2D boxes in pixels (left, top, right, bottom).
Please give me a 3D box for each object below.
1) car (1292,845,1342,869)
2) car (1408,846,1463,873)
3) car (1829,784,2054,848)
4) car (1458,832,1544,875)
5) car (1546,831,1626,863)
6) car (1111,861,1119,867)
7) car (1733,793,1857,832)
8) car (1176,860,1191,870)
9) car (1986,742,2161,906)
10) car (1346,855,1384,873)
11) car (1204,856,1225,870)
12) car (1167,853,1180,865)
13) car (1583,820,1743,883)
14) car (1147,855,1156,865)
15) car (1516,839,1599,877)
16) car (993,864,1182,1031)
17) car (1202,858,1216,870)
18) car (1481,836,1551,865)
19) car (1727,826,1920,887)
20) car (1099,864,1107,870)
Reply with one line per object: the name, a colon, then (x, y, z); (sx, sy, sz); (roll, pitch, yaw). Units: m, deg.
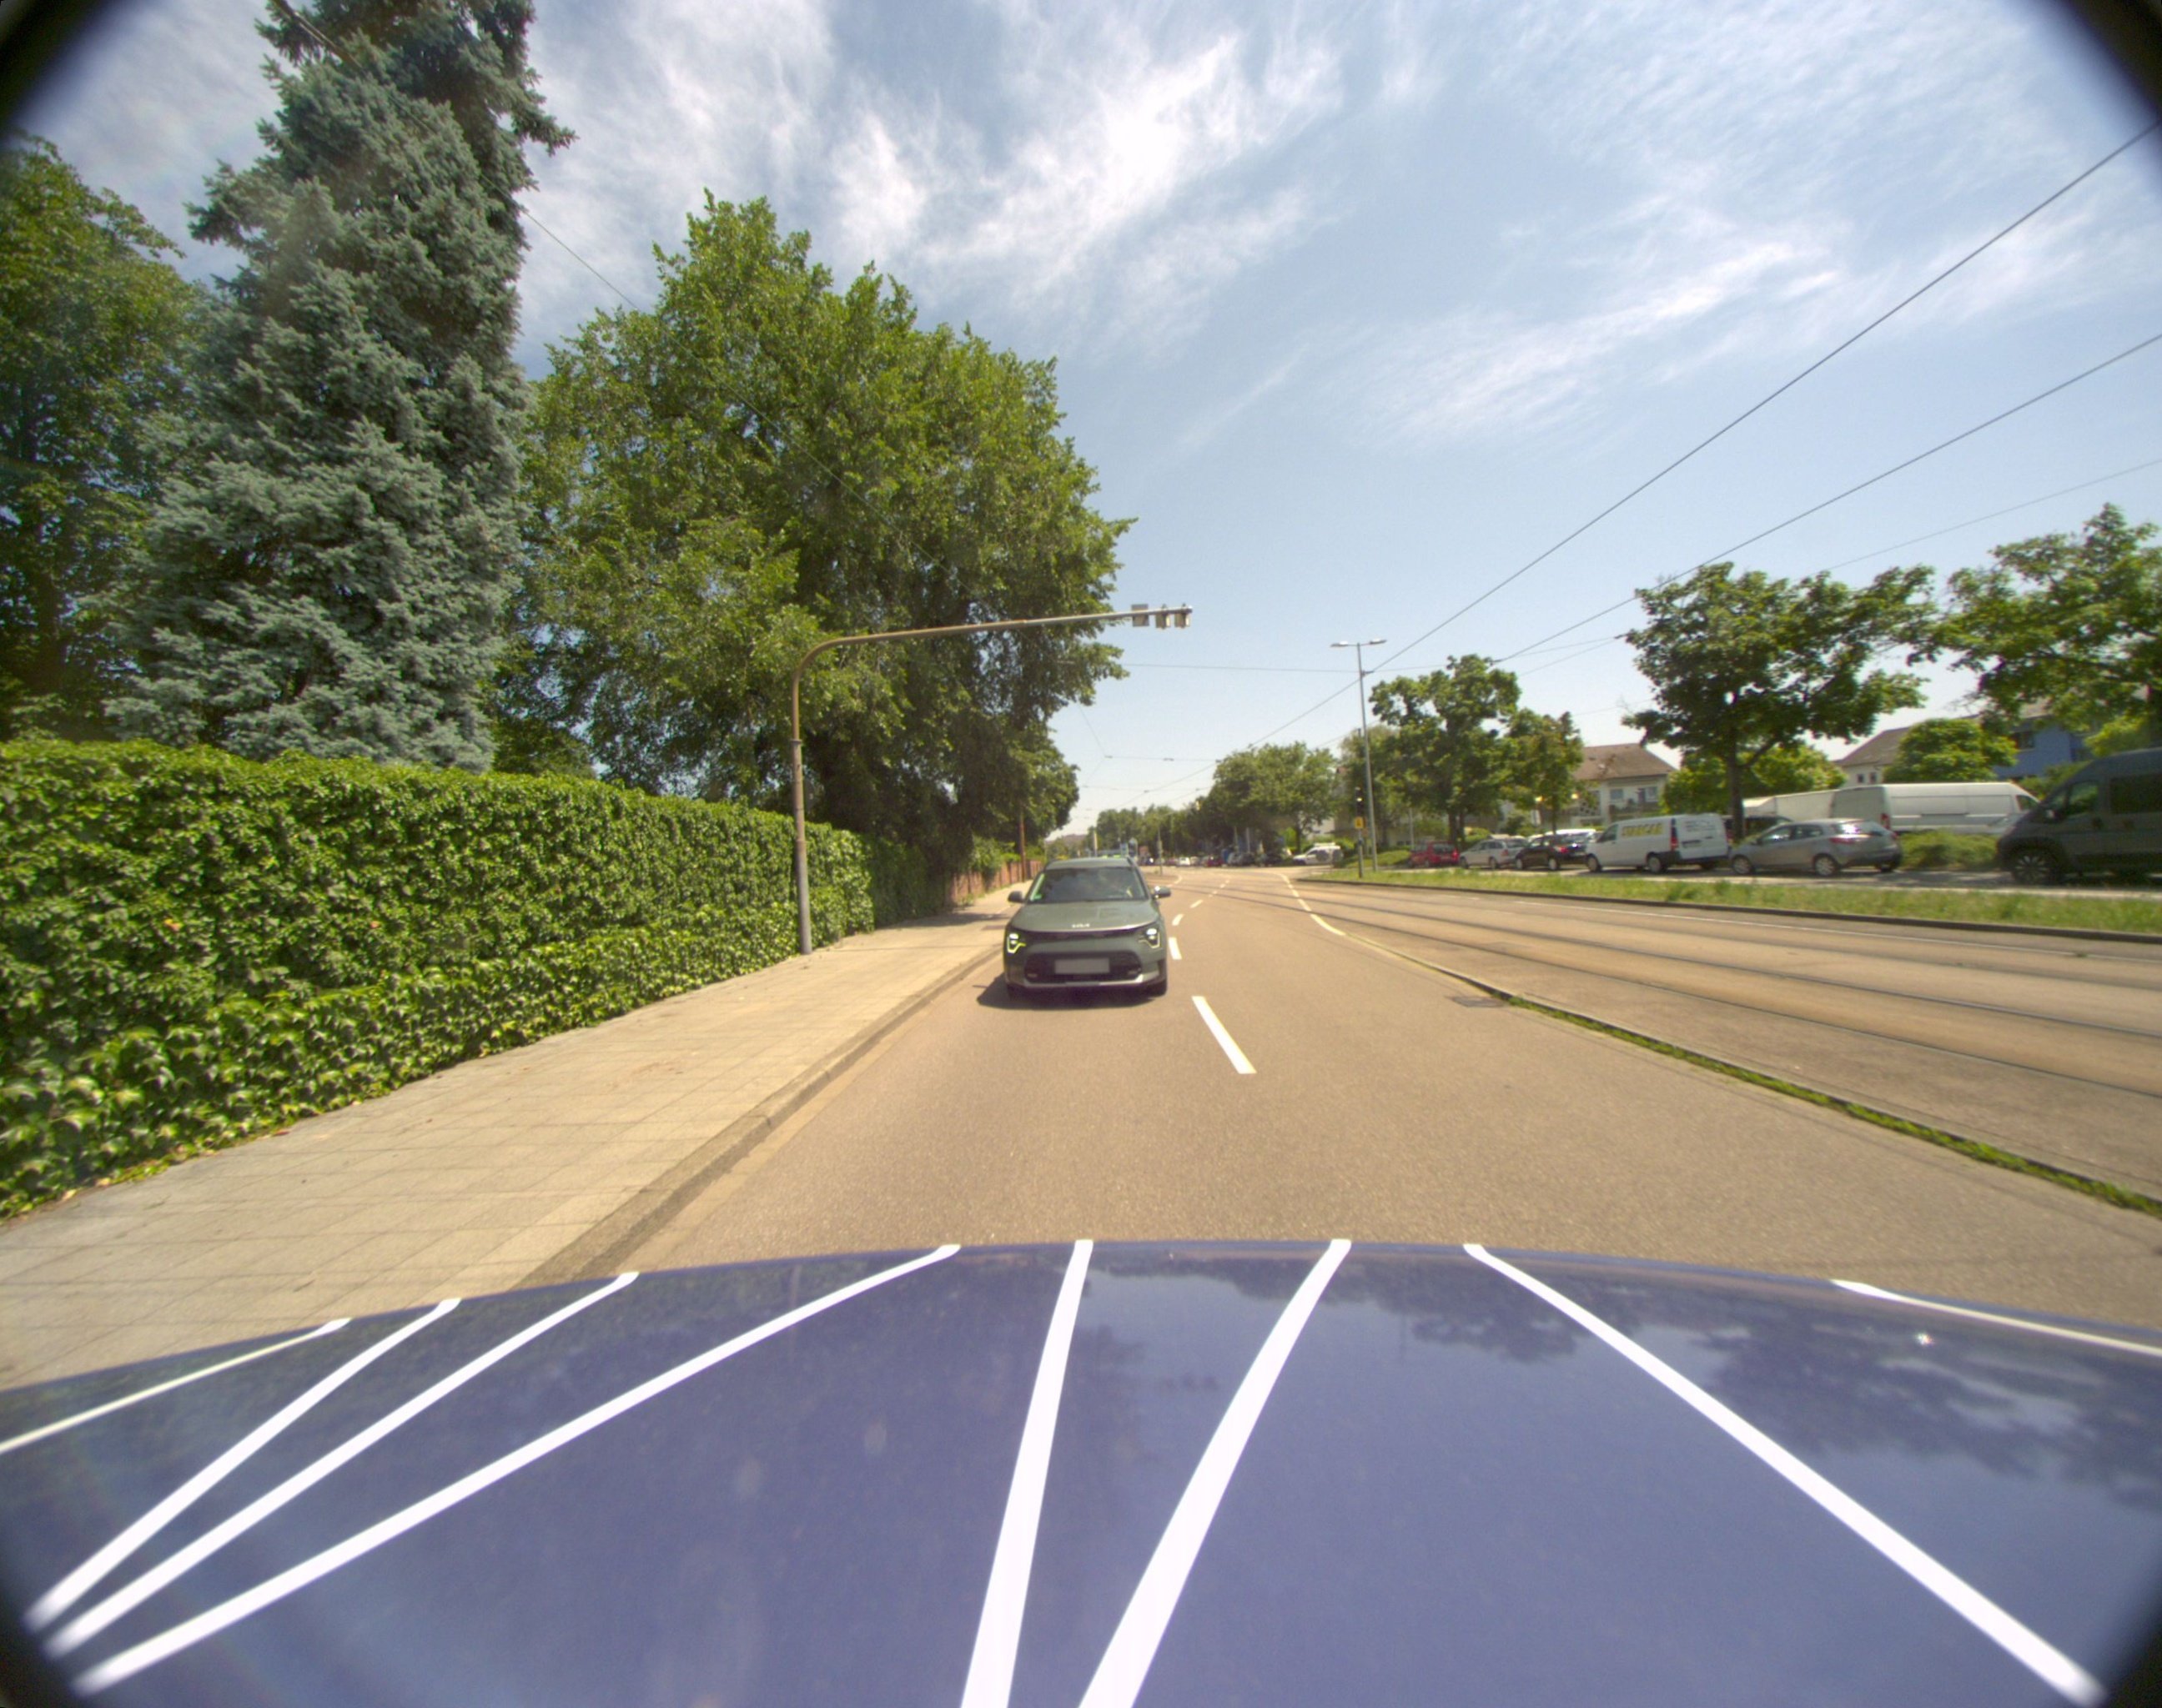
car: (21.361, 0.294, 68.853); (4.206, 1.979, 1.824); (-2, 0, 15)
car: (20.121, 0.293, 43.288); (1.582, 1.471, 3.424); (-2, 0, 2)
car: (30.153, -1.281, 26.770); (5.434, 1.944, 2.029); (-2, 0, 2)
car: (20.231, -0.041, 36.831); (1.635, 1.882, 4.497); (-2, 0, 0)
car: (32.078, -0.464, 48.329); (3.999, 1.863, 1.715); (-2, 0, -6)
car: (9.337, 2.846, 208.725); (1.759, 1.543, 4.000); (-3, 0, -2)
car: (44.011, -2.533, 46.920); (5.744, 2.051, 2.147); (-2, 0, -2)
car: (15.131, 1.570, 112.581); (1.780, 1.310, 3.755); (-2, 0, 2)
car: (19.694, -0.546, 12.772); (2.244, 2.821, 5.667); (-2, 0, 1)
car: (20.607, 0.703, 55.259); (1.582, 1.151, 3.424); (-2, 0, 2)
car: (15.370, 1.066, 87.509); (1.820, 1.471, 3.424); (-2, 0, 2)
car: (15.632, 0.771, 128.322); (1.780, 1.907, 3.755); (-2, 0, 2)
car: (19.995, -0.081, 26.435); (1.924, 1.937, 4.817); (-2, 0, 2)
car: (14.602, 1.240, 157.539); (1.780, 1.907, 3.755); (-2, 0, 2)
car: (20.013, 0.151, 32.028); (1.429, 1.469, 3.262); (-2, 0, 0)
car: (0.045, 0.974, 9.794); (1.824, 1.577, 4.288); (-3, -1, -1)
car: (20.259, 1.546, 120.200); (1.703, 1.842, 3.983); (-2, 0, 2)
car: (30.623, -0.269, 53.504); (3.999, 1.863, 1.715); (-2, 0, -6)
car: (20.007, 0.046, 20.706); (1.767, 1.456, 3.608); (-2, 0, 2)
car: (6.673, 3.988, 233.760); (1.999, 2.002, 3.998); (-2, 0, -4)
